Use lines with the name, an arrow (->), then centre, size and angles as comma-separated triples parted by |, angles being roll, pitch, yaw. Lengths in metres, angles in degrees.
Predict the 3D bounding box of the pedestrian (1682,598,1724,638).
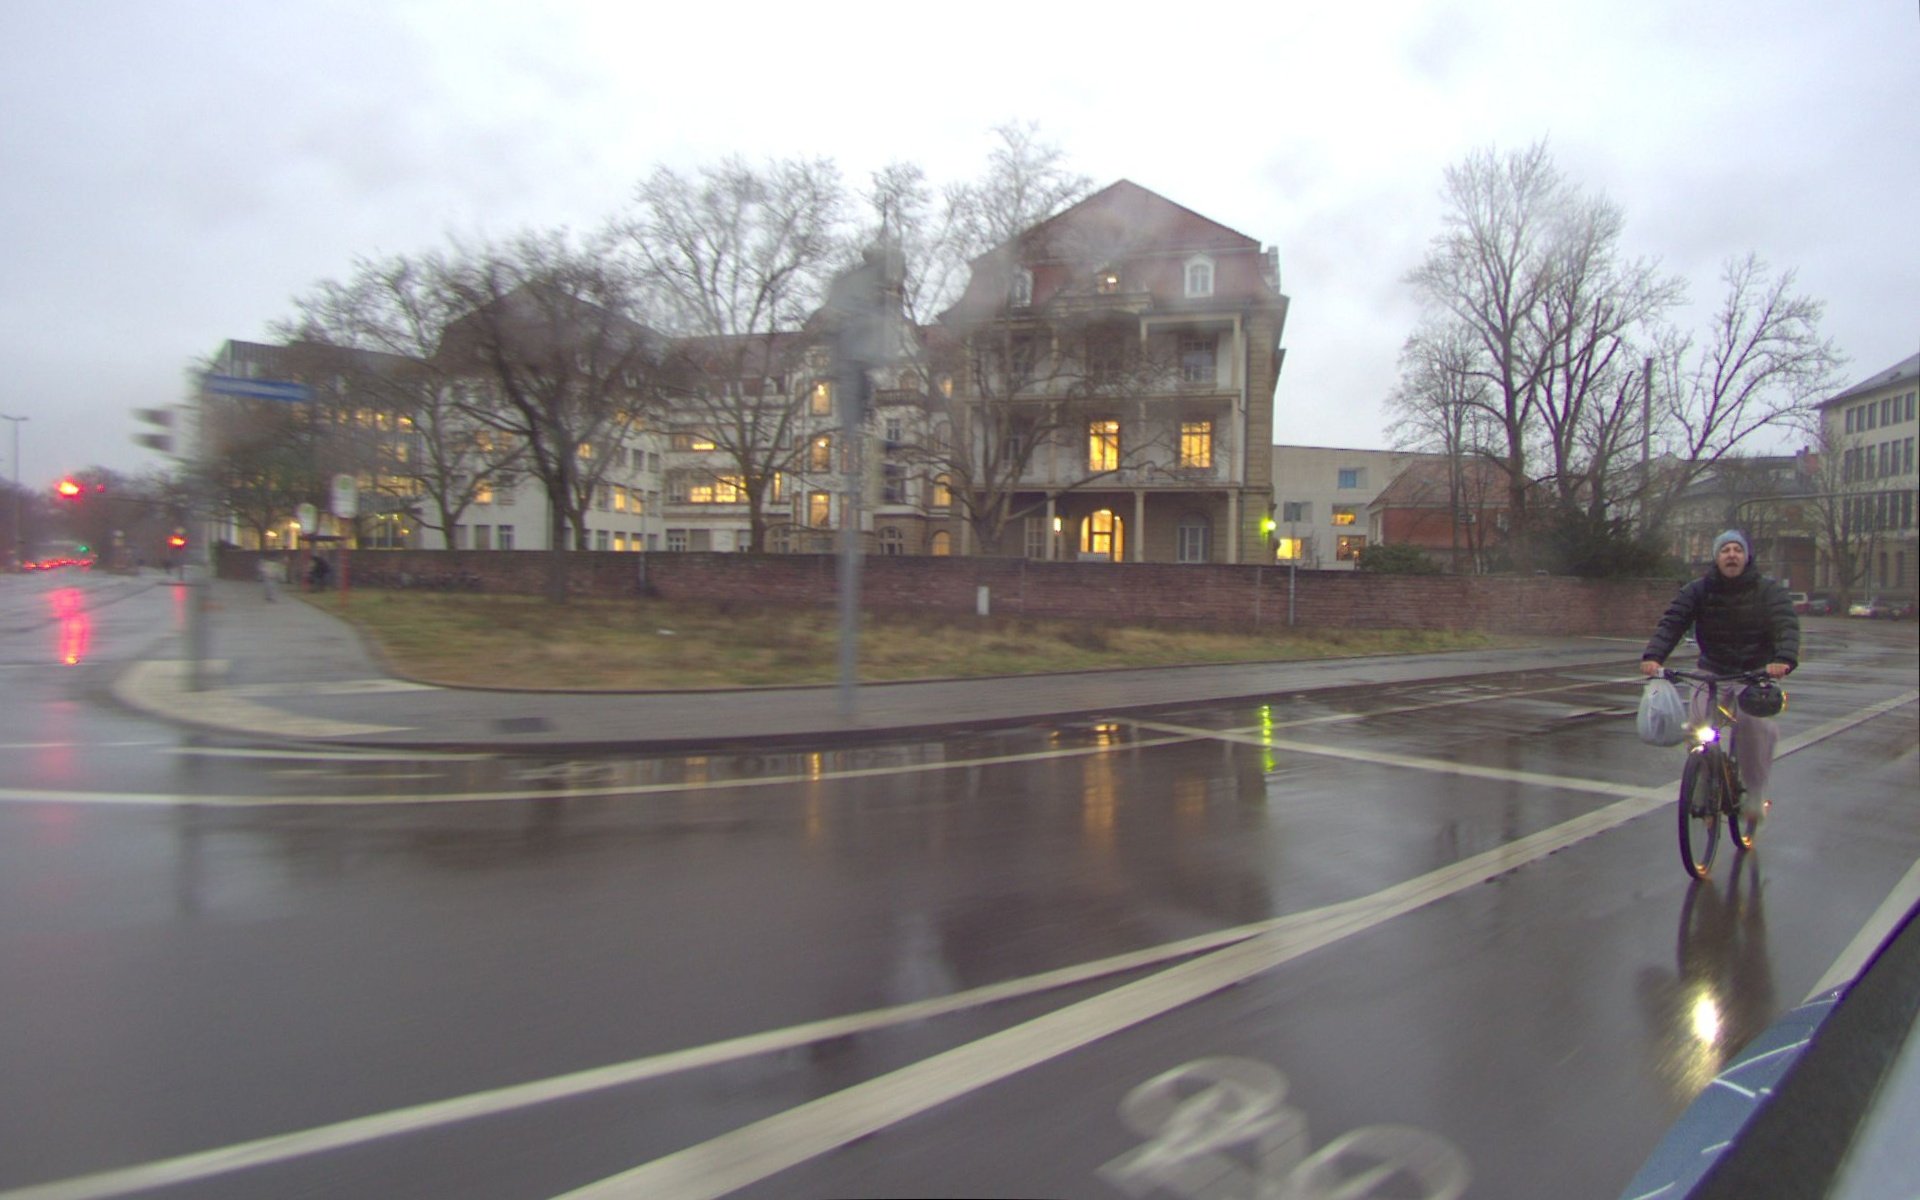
pedestrian -> 26.478, 0.626, 36.071 | 0.970, 1.333, 0.809 | 2, 2, 20

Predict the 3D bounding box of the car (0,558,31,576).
car -> -89.580, -3.142, 95.703 | 1.962, 1.587, 4.470 | 2, 0, -36

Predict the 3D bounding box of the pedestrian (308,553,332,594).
pedestrian -> -29.648, -1.235, 46.843 | 0.794, 1.853, 0.947 | 1, 2, -40

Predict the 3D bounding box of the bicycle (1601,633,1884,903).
bicycle -> 4.658, 0.883, 5.989 | 1.868, 1.237, 0.795 | -2, 2, -35

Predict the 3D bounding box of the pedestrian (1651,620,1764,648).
pedestrian -> 26.546, 1.194, 36.015 | 3.061, 0.942, 0.942 | 0, -1, 20

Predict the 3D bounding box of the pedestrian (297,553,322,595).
pedestrian -> -29.058, -1.163, 45.193 | 0.794, 1.853, 0.947 | 1, 2, -40

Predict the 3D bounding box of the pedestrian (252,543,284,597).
pedestrian -> -24.057, -1.050, 35.181 | 0.794, 1.853, 0.947 | 1, 2, -40

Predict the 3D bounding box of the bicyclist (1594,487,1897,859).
bicyclist -> 4.582, 0.345, 5.933 | 1.212, 1.906, 1.028 | -1, 2, -32
